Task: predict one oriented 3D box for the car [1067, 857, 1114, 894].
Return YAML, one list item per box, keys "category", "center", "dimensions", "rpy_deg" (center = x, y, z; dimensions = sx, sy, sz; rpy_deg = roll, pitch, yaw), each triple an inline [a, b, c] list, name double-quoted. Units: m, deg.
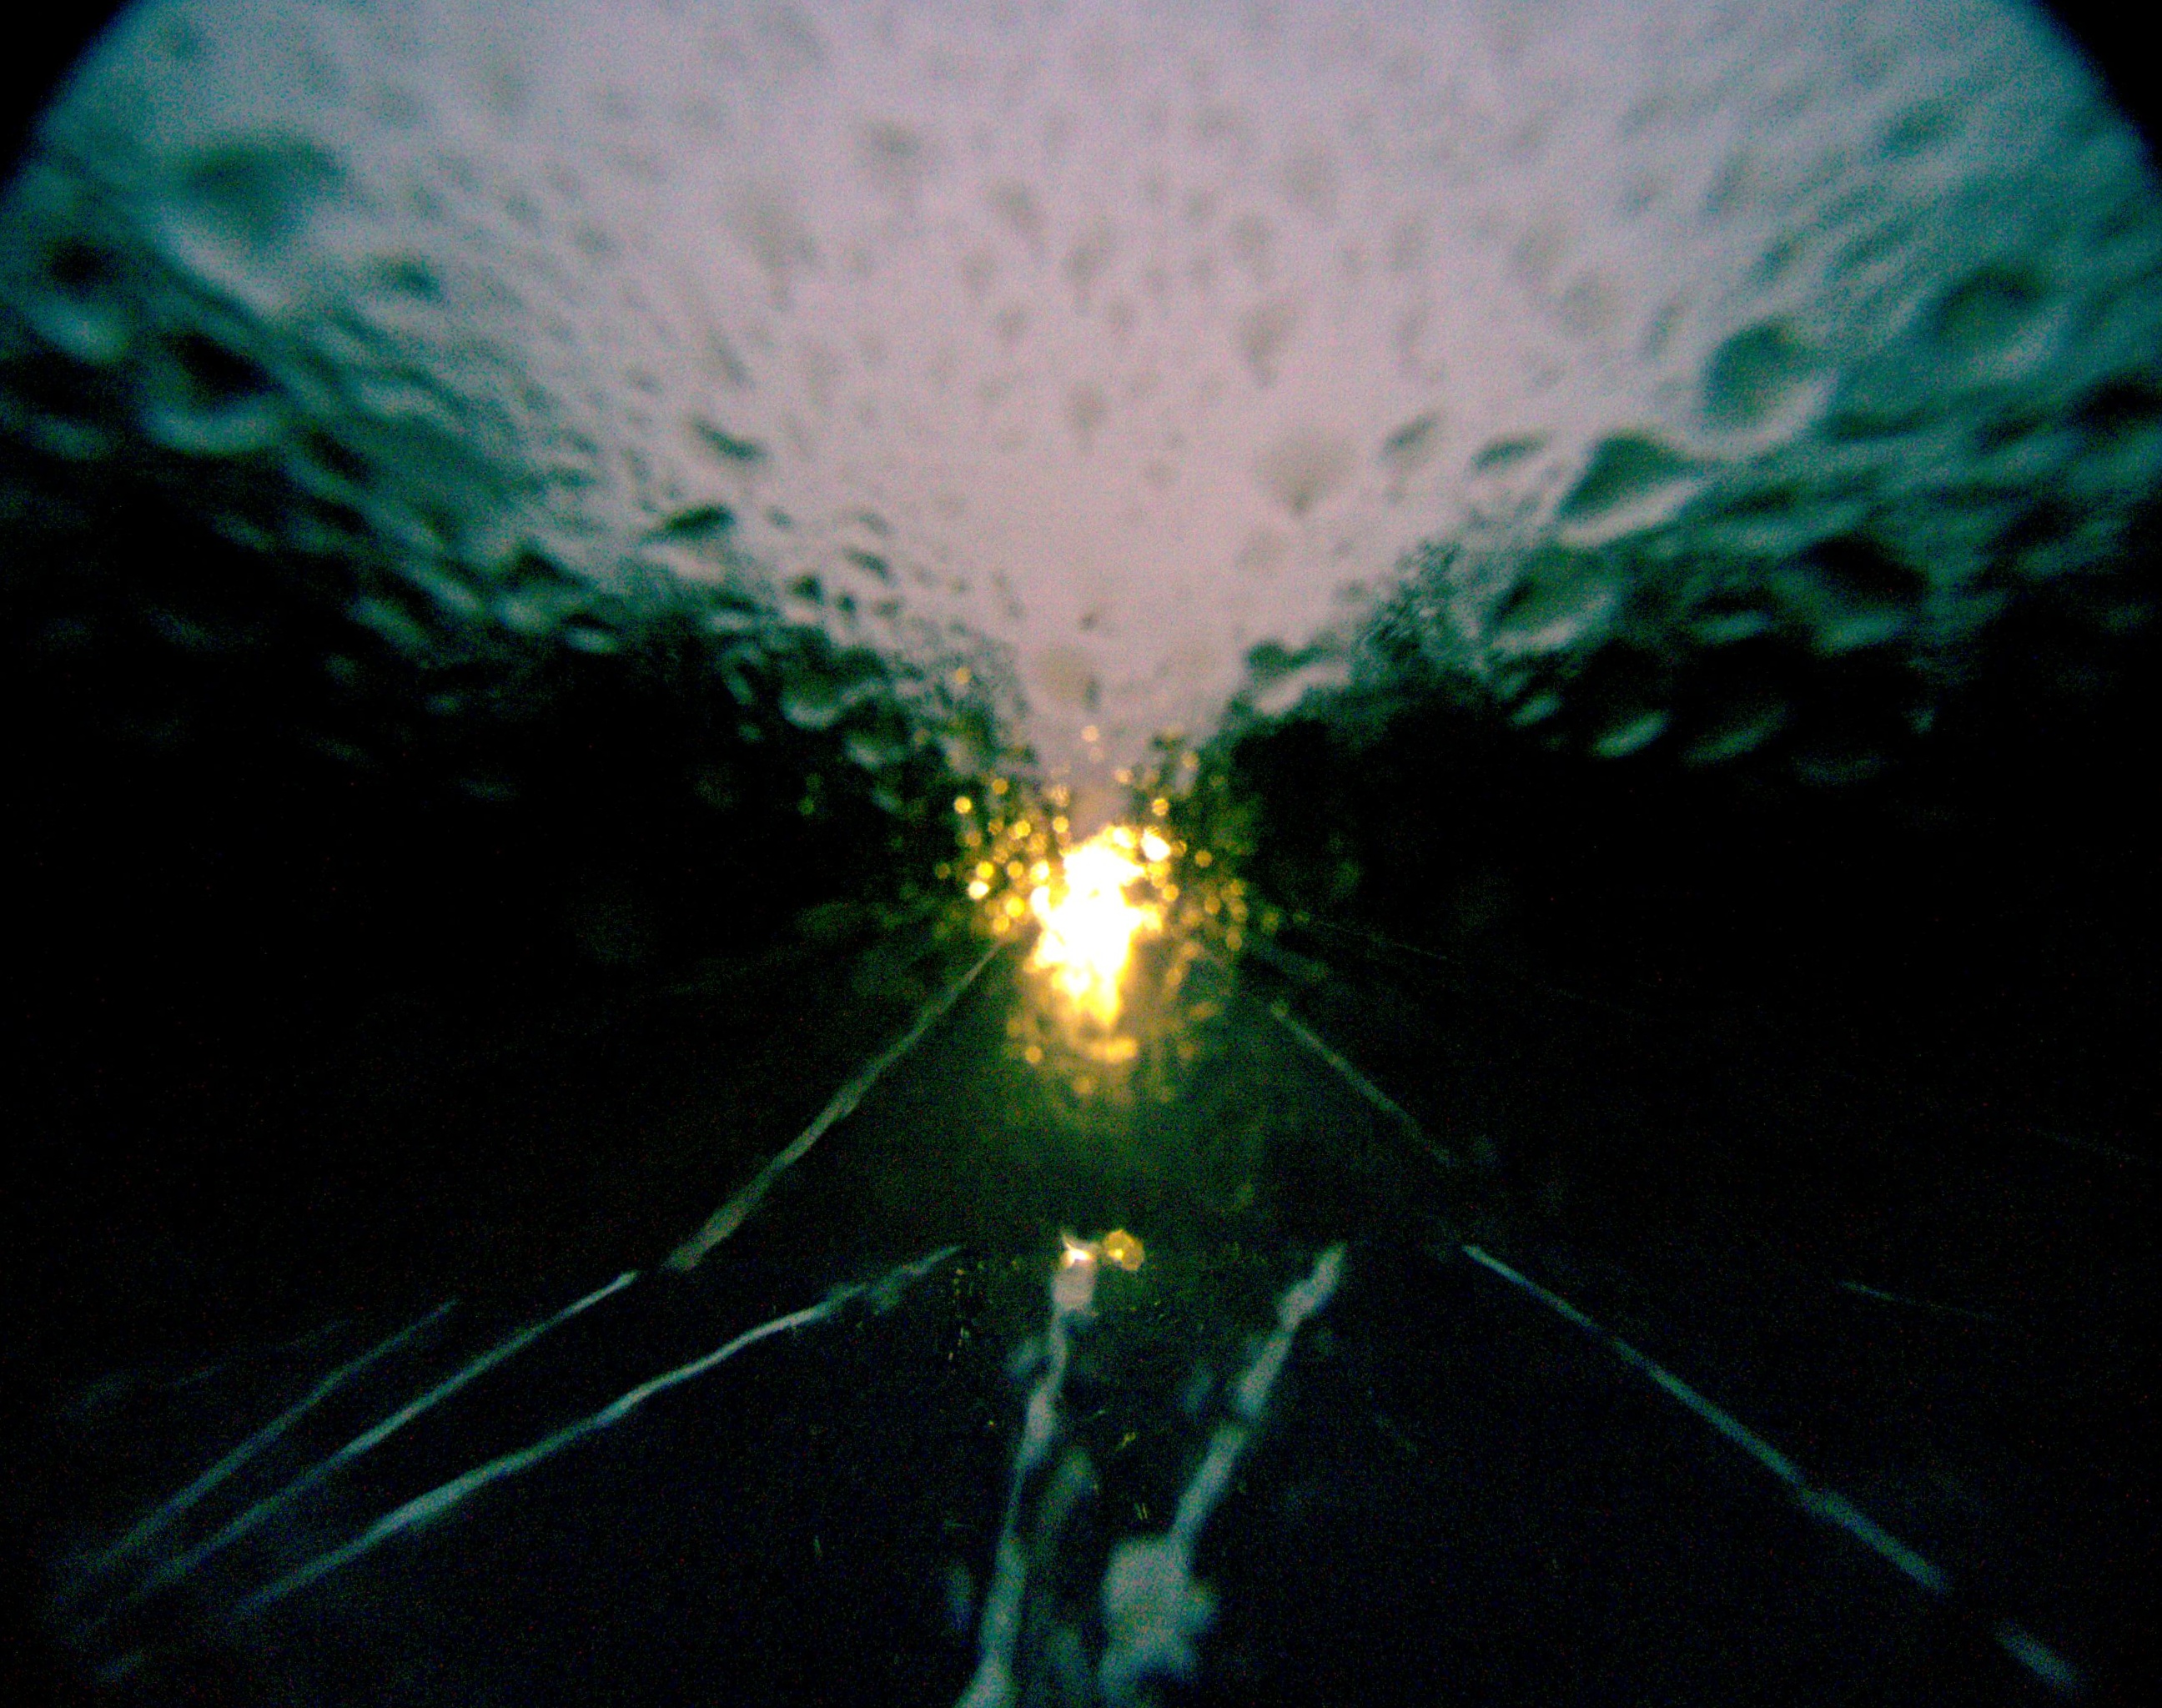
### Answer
- category: "car"
  center: [0.447, 0.857, 32.028]
  dimensions: [1.845, 1.390, 4.000]
  rpy_deg: [-1, 1, 1]
